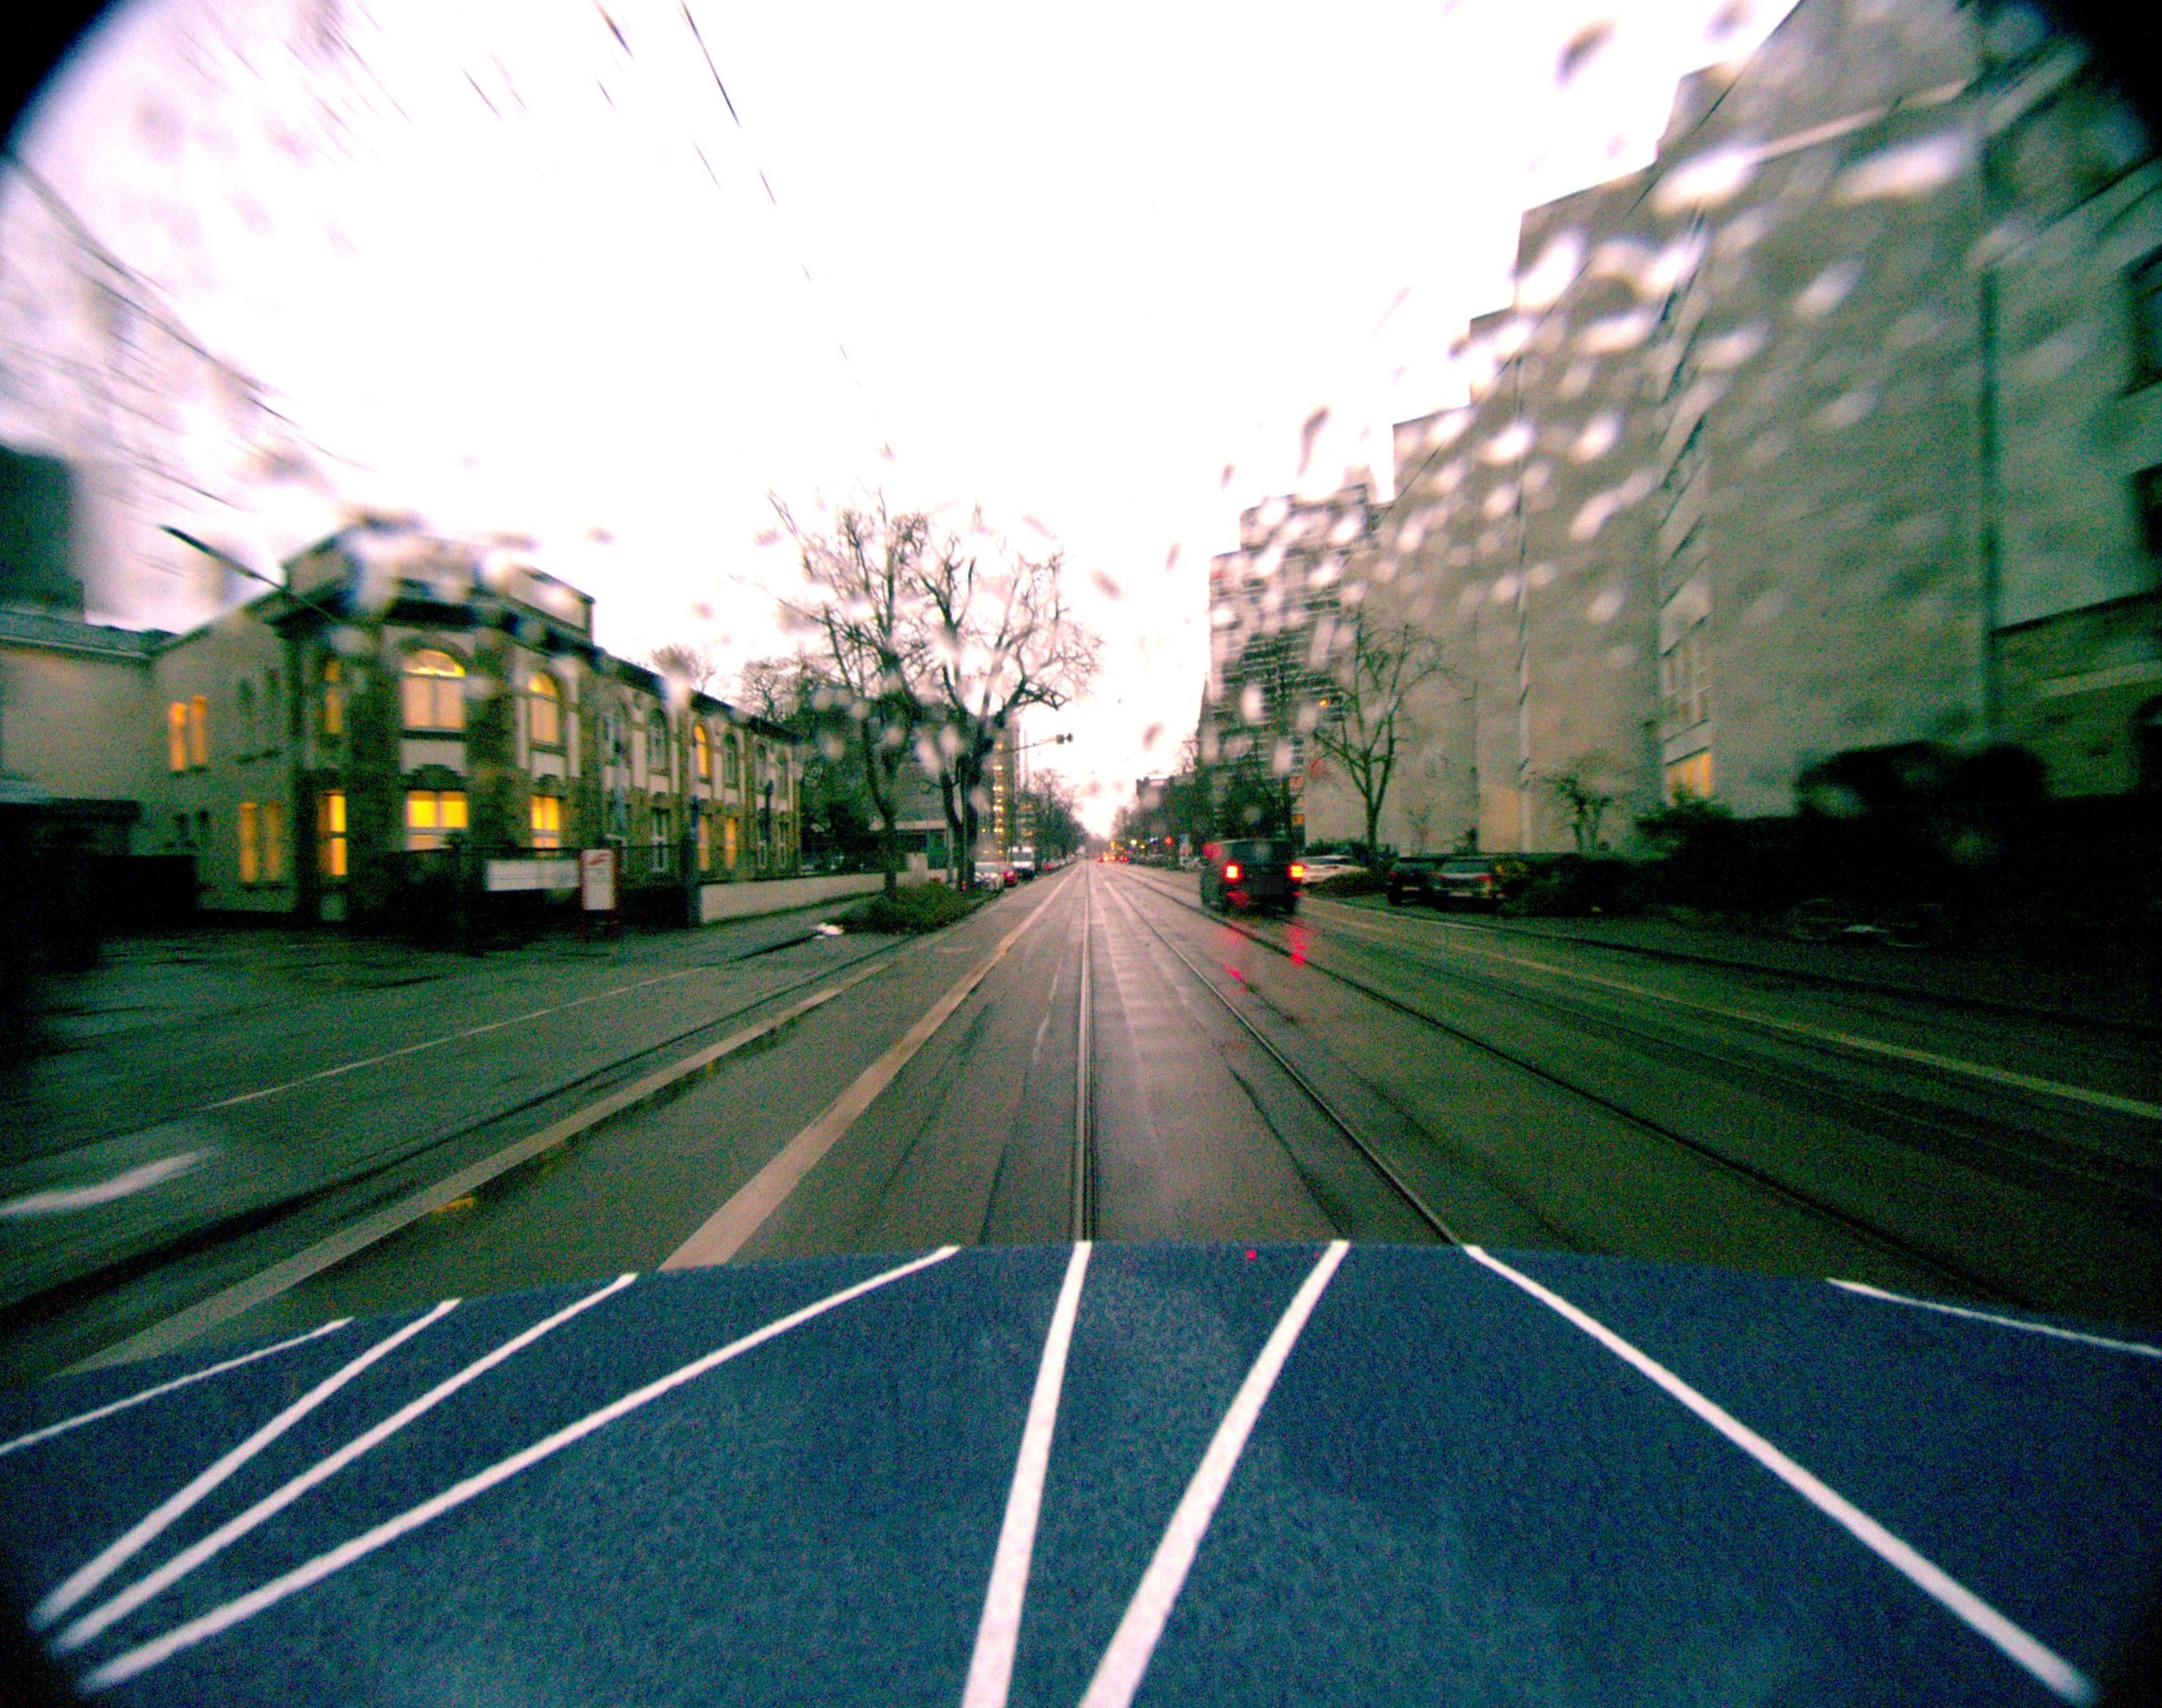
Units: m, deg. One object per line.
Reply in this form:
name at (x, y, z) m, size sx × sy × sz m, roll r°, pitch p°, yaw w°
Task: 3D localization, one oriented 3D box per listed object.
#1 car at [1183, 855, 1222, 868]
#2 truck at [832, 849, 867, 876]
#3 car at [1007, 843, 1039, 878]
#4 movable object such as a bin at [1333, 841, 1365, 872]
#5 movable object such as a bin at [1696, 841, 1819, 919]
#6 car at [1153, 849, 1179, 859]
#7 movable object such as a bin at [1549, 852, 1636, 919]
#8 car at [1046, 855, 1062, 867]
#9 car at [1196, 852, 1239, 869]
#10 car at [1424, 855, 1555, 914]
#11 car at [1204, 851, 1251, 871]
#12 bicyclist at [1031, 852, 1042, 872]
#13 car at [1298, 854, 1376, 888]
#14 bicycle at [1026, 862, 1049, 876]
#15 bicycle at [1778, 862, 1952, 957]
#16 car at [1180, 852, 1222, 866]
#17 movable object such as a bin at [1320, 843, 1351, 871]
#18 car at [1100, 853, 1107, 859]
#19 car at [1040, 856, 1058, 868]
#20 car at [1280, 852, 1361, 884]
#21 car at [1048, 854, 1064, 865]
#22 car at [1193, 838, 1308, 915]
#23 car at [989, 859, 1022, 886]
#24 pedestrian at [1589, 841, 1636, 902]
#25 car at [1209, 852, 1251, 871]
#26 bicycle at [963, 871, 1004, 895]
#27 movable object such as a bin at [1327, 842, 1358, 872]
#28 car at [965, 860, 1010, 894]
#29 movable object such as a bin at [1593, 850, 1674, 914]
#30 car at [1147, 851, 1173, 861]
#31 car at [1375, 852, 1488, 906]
car at (12.817, 0.779, 80.111) m, size 4.008 × 1.391 × 1.851 m, roll 0°, pitch 0°, yaw -41°
truck at (-23.225, 0.786, 76.560) m, size 2.132 × 2.573 × 7.075 m, roll -1°, pitch 1°, yaw -6°
car at (-4.290, 0.502, 56.883) m, size 2.130 × 2.472 × 5.438 m, roll -1°, pitch 0°, yaw -2°
movable object such as a bin at (16.816, 0.173, 47.680) m, size 1.573 × 1.849 × 1.318 m, roll -1°, pitch -1°, yaw 2°
movable object such as a bin at (13.178, 0.501, 14.866) m, size 1.265 × 1.442 × 1.326 m, roll -1°, pitch 0°, yaw 8°
car at (13.525, 0.062, 120.811) m, size 3.995 × 1.477 × 1.673 m, roll -1°, pitch 0°, yaw 6°
movable object such as a bin at (11.580, 0.695, 17.224) m, size 1.268 × 1.442 × 1.110 m, roll -1°, pitch 0°, yaw -21°
car at (-3.471, 0.906, 99.510) m, size 1.753 × 1.575 × 3.737 m, roll -1°, pitch 0°, yaw 2°
car at (12.040, 0.521, 66.780) m, size 1.788 × 1.437 × 4.008 m, roll -1°, pitch -1°, yaw 45°
car at (11.036, 0.753, 20.408) m, size 4.008 × 1.419 × 1.843 m, roll 0°, pitch 0°, yaw -42°
car at (11.735, 0.560, 60.703) m, size 3.862 × 1.484 × 1.691 m, roll 0°, pitch 0°, yaw -43°
bicyclist at (-3.813, 0.700, 65.397) m, size 0.771 × 1.679 × 0.706 m, roll -1°, pitch 0°, yaw -15°
car at (11.491, 0.720, 34.003) m, size 3.861 × 1.415 × 1.732 m, roll 0°, pitch -1°, yaw -45°
bicycle at (-3.754, 1.304, 65.397) m, size 1.895 × 1.126 × 0.730 m, roll -1°, pitch 0°, yaw -15°
bicycle at (10.813, 0.725, 10.560) m, size 0.694 × 1.205 × 1.596 m, roll -1°, pitch 0°, yaw -4°
car at (11.597, 0.477, 73.157) m, size 4.008 × 1.370 × 1.851 m, roll 0°, pitch 0°, yaw -41°
movable object such as a bin at (16.899, 0.211, 50.461) m, size 1.573 × 1.849 × 1.318 m, roll -1°, pitch -1°, yaw 2°
car at (6.537, 0.618, 220.692) m, size 1.752 × 1.535 × 4.296 m, roll -1°, pitch 0°, yaw 1°
car at (-3.822, 0.949, 90.676) m, size 1.753 × 1.379 × 3.737 m, roll -1°, pitch 0°, yaw 2°
car at (11.890, 0.669, 37.695) m, size 4.007 × 1.455 × 1.732 m, roll -1°, pitch 1°, yaw -34°
car at (-3.605, 0.805, 110.389) m, size 1.866 × 1.584 × 4.001 m, roll -1°, pitch 0°, yaw 3°
car at (4.641, 0.597, 21.643) m, size 2.051 × 1.911 × 5.099 m, roll -1°, pitch 0°, yaw -1°
car at (-4.475, 1.086, 45.268) m, size 1.647 × 1.514 × 3.572 m, roll -2°, pitch 0°, yaw -2°
pedestrian at (14.739, 0.481, 21.098) m, size 0.598 × 1.667 × 0.973 m, roll -1°, pitch 0°, yaw 1°
car at (12.607, 0.626, 64.124) m, size 3.458 × 1.484 × 1.725 m, roll 0°, pitch 0°, yaw -41°
bicycle at (-4.351, 1.294, 33.991) m, size 1.717 × 1.064 × 0.663 m, roll -1°, pitch 0°, yaw 1°
movable object such as a bin at (16.871, 0.200, 49.062) m, size 1.573 × 1.849 × 1.394 m, roll -1°, pitch -1°, yaw 2°
car at (-4.424, 1.078, 36.466) m, size 1.696 × 1.511 × 3.637 m, roll -1°, pitch 0°, yaw 0°
movable object such as a bin at (12.888, 0.635, 17.743) m, size 1.093 × 1.442 × 1.110 m, roll -1°, pitch 0°, yaw -21°
car at (12.201, 0.297, 117.616) m, size 3.995 × 1.477 × 1.673 m, roll -1°, pitch 0°, yaw 6°
car at (10.826, 0.722, 23.367) m, size 4.008 × 1.462 × 1.826 m, roll -1°, pitch 0°, yaw -44°
